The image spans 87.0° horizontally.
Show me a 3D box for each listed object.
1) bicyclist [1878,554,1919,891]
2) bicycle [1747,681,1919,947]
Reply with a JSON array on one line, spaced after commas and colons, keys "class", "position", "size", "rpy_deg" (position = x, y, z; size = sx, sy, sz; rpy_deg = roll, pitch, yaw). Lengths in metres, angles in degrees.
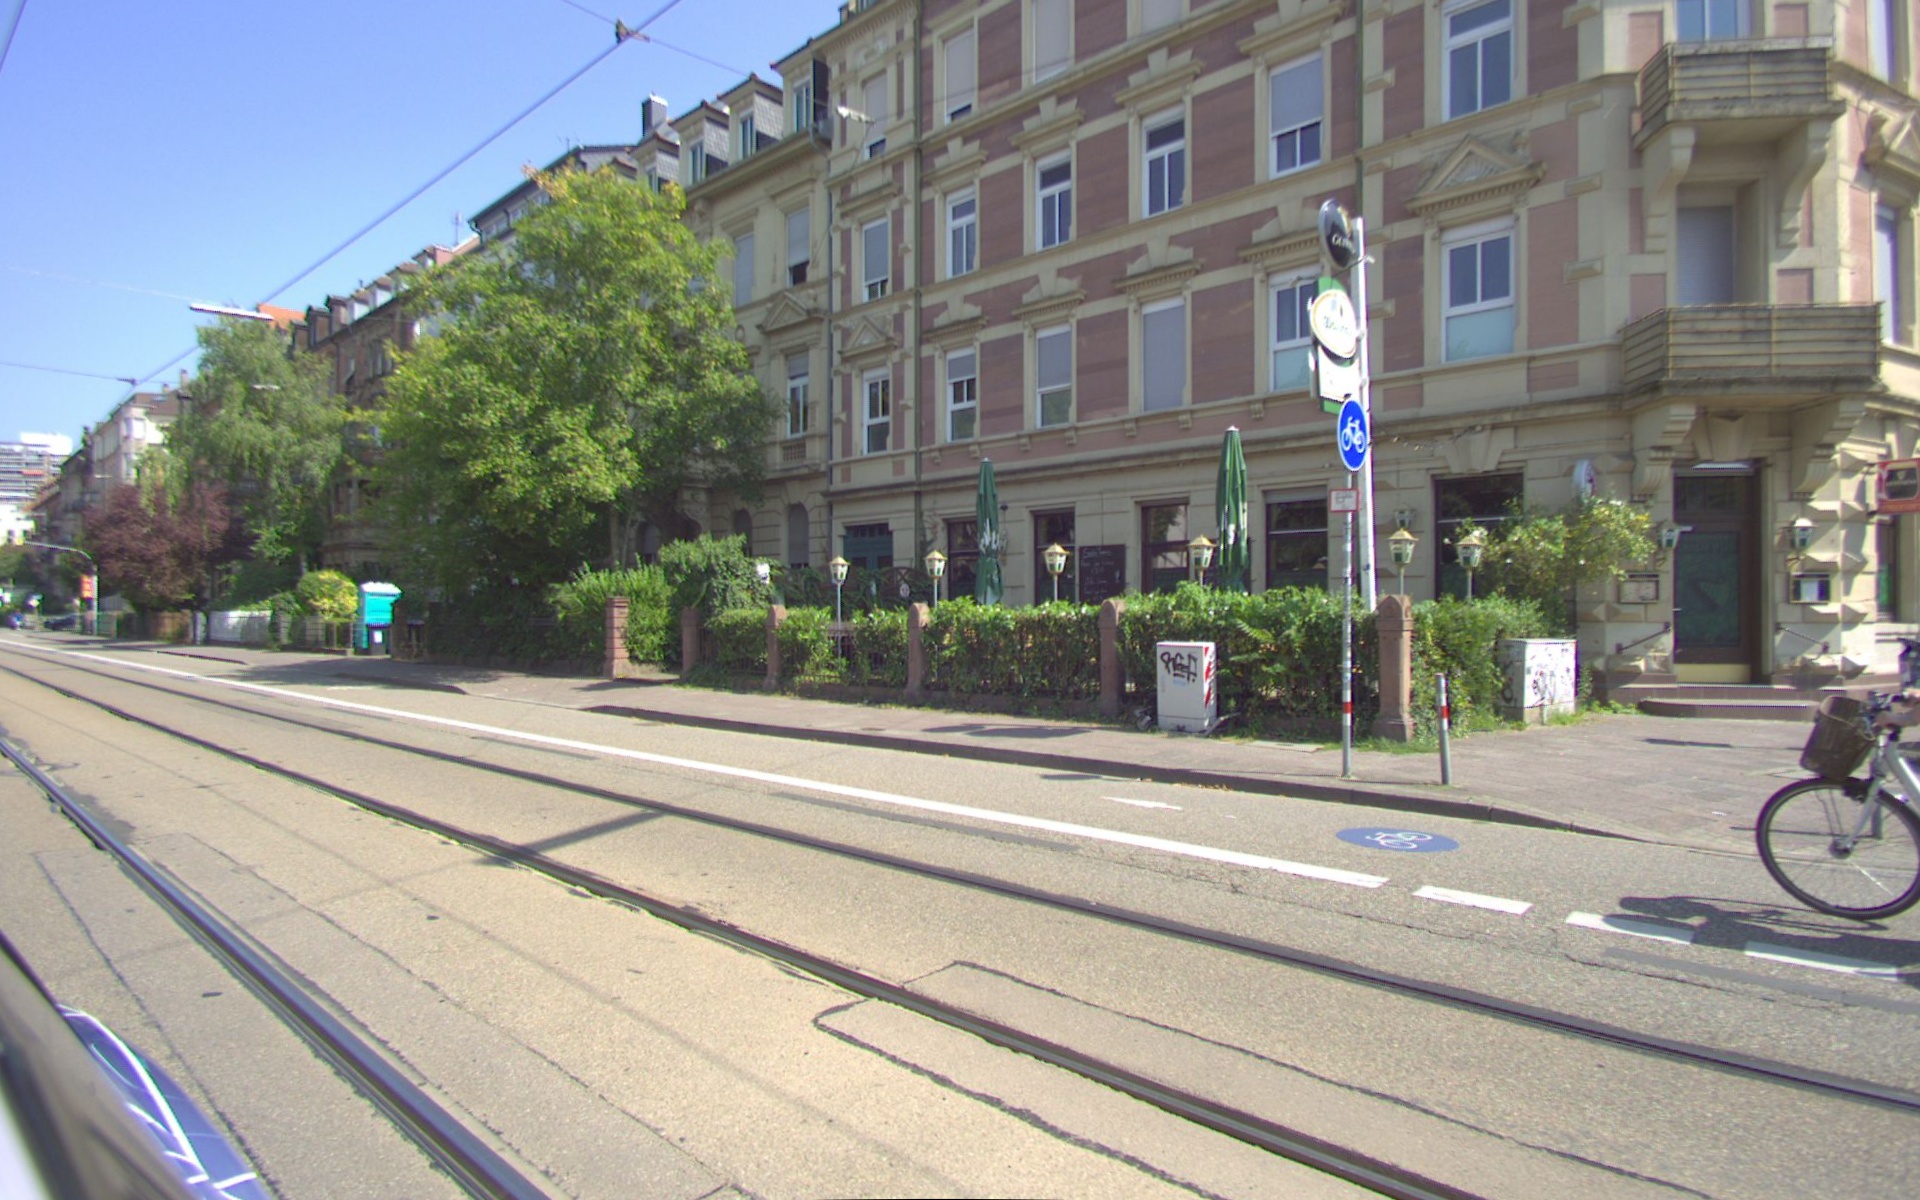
[{"class": "bicyclist", "position": [4.539, 0.518, 4.125], "size": [0.646, 1.439, 0.977], "rpy_deg": [0, -1, -24]}, {"class": "bicycle", "position": [4.519, 0.940, 4.181], "size": [0.631, 1.085, 1.922], "rpy_deg": [0, -1, -23]}]
